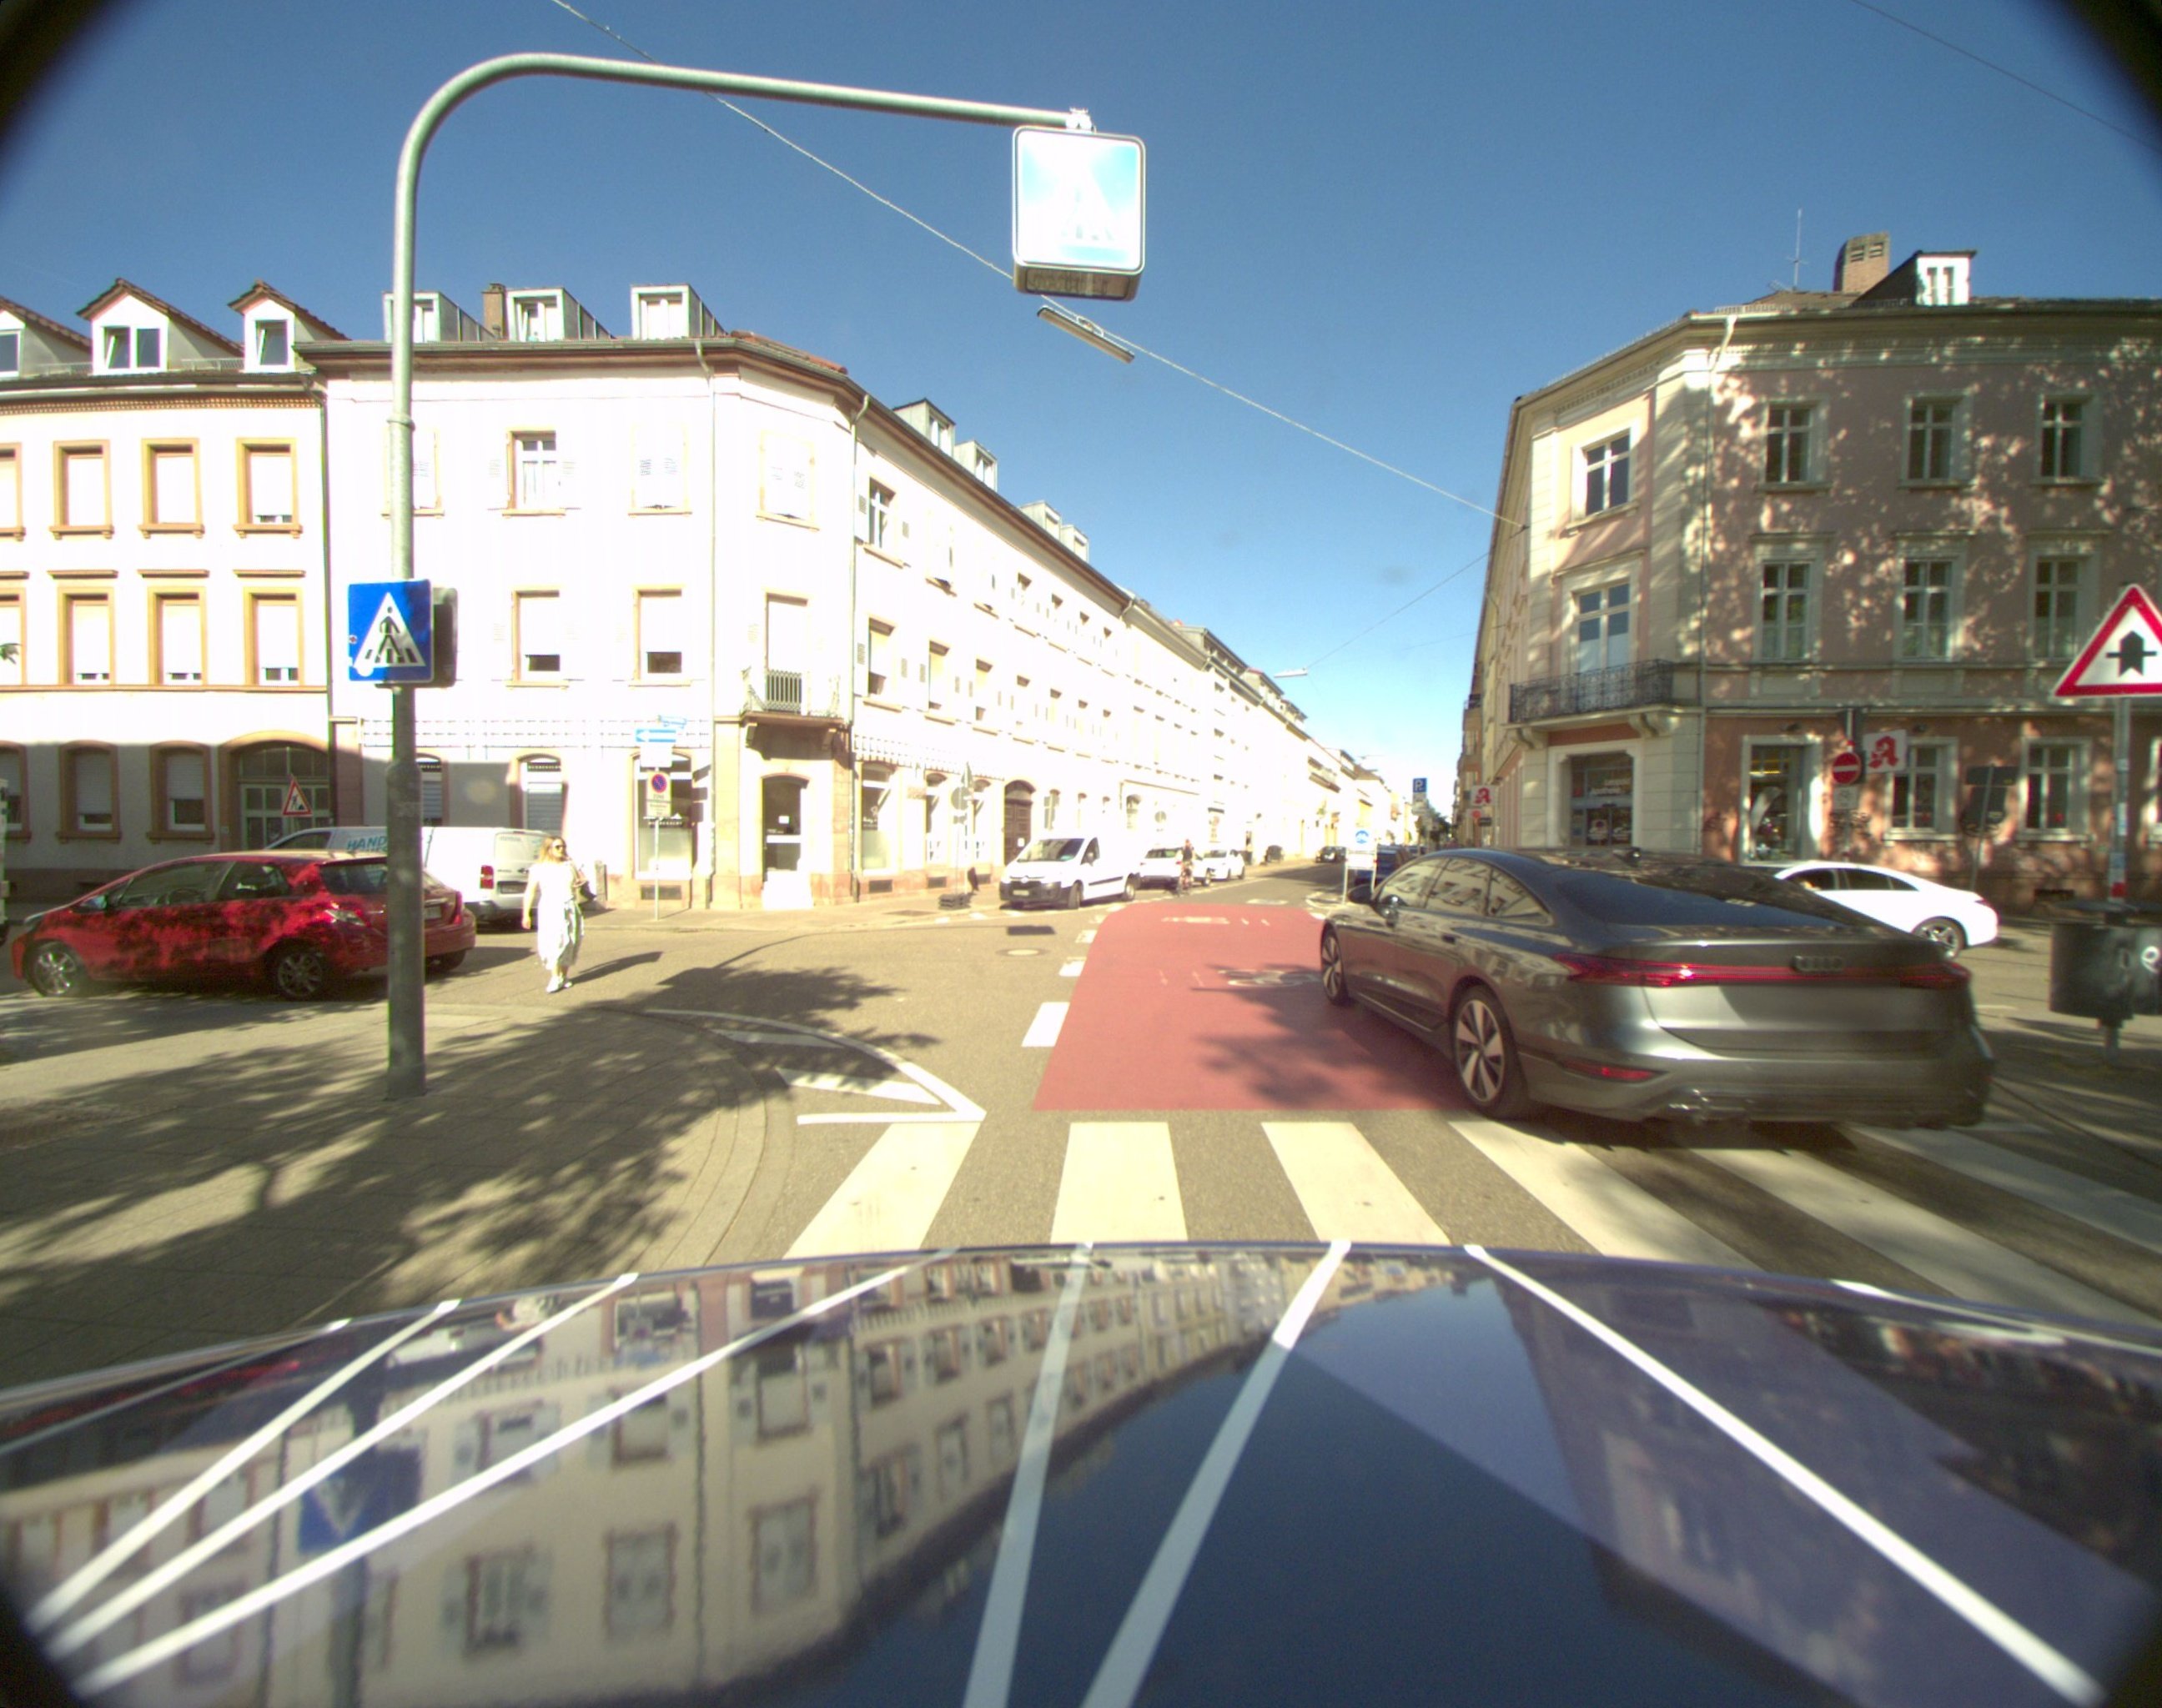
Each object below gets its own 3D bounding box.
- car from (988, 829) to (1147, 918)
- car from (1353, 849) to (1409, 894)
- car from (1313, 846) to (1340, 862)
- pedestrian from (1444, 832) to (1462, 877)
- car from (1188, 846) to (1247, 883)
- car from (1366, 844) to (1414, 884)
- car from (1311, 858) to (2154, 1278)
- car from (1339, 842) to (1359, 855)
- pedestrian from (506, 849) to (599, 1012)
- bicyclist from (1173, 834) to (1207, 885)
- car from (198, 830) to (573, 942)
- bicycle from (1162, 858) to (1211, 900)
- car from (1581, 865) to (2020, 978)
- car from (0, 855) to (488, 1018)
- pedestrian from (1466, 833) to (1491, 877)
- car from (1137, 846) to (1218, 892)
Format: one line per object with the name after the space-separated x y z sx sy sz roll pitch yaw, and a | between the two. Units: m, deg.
-0.147 0.367 19.149 2.045 1.935 5.033 1 1 24 | car
11.657 0.607 29.399 1.702 1.426 3.644 4 4 26 | car
20.779 0.001 64.304 1.702 1.292 3.645 1 2 26 | car
15.699 0.026 32.063 0.570 1.846 0.708 -2 1 20 | pedestrian
6.066 0.420 33.596 1.628 1.532 3.645 -1 1 26 | car
13.963 0.406 34.273 1.702 1.529 3.644 4 4 26 | car
3.136 0.825 5.179 1.914 1.445 4.577 0 1 2 | car
28.613 -0.591 81.072 1.703 1.292 3.645 0 1 26 | car
-5.584 0.758 8.072 0.736 1.605 0.814 -1 3 -32 | pedestrian
3.407 0.151 23.735 0.636 1.538 1.027 1 2 37 | bicyclist
-12.248 0.548 13.625 5.009 1.848 1.901 0 -1 1 | car
3.311 0.760 23.657 0.670 1.193 1.929 1 2 37 | bicycle
10.400 0.929 11.345 4.557 1.448 1.864 0 1 6 | car
-9.053 0.810 8.307 3.803 1.492 1.690 0 3 2 | car
16.551 0.013 31.642 0.828 1.755 0.753 3 5 29 | pedestrian
3.642 0.509 27.986 1.642 1.532 4.390 -1 1 26 | car
